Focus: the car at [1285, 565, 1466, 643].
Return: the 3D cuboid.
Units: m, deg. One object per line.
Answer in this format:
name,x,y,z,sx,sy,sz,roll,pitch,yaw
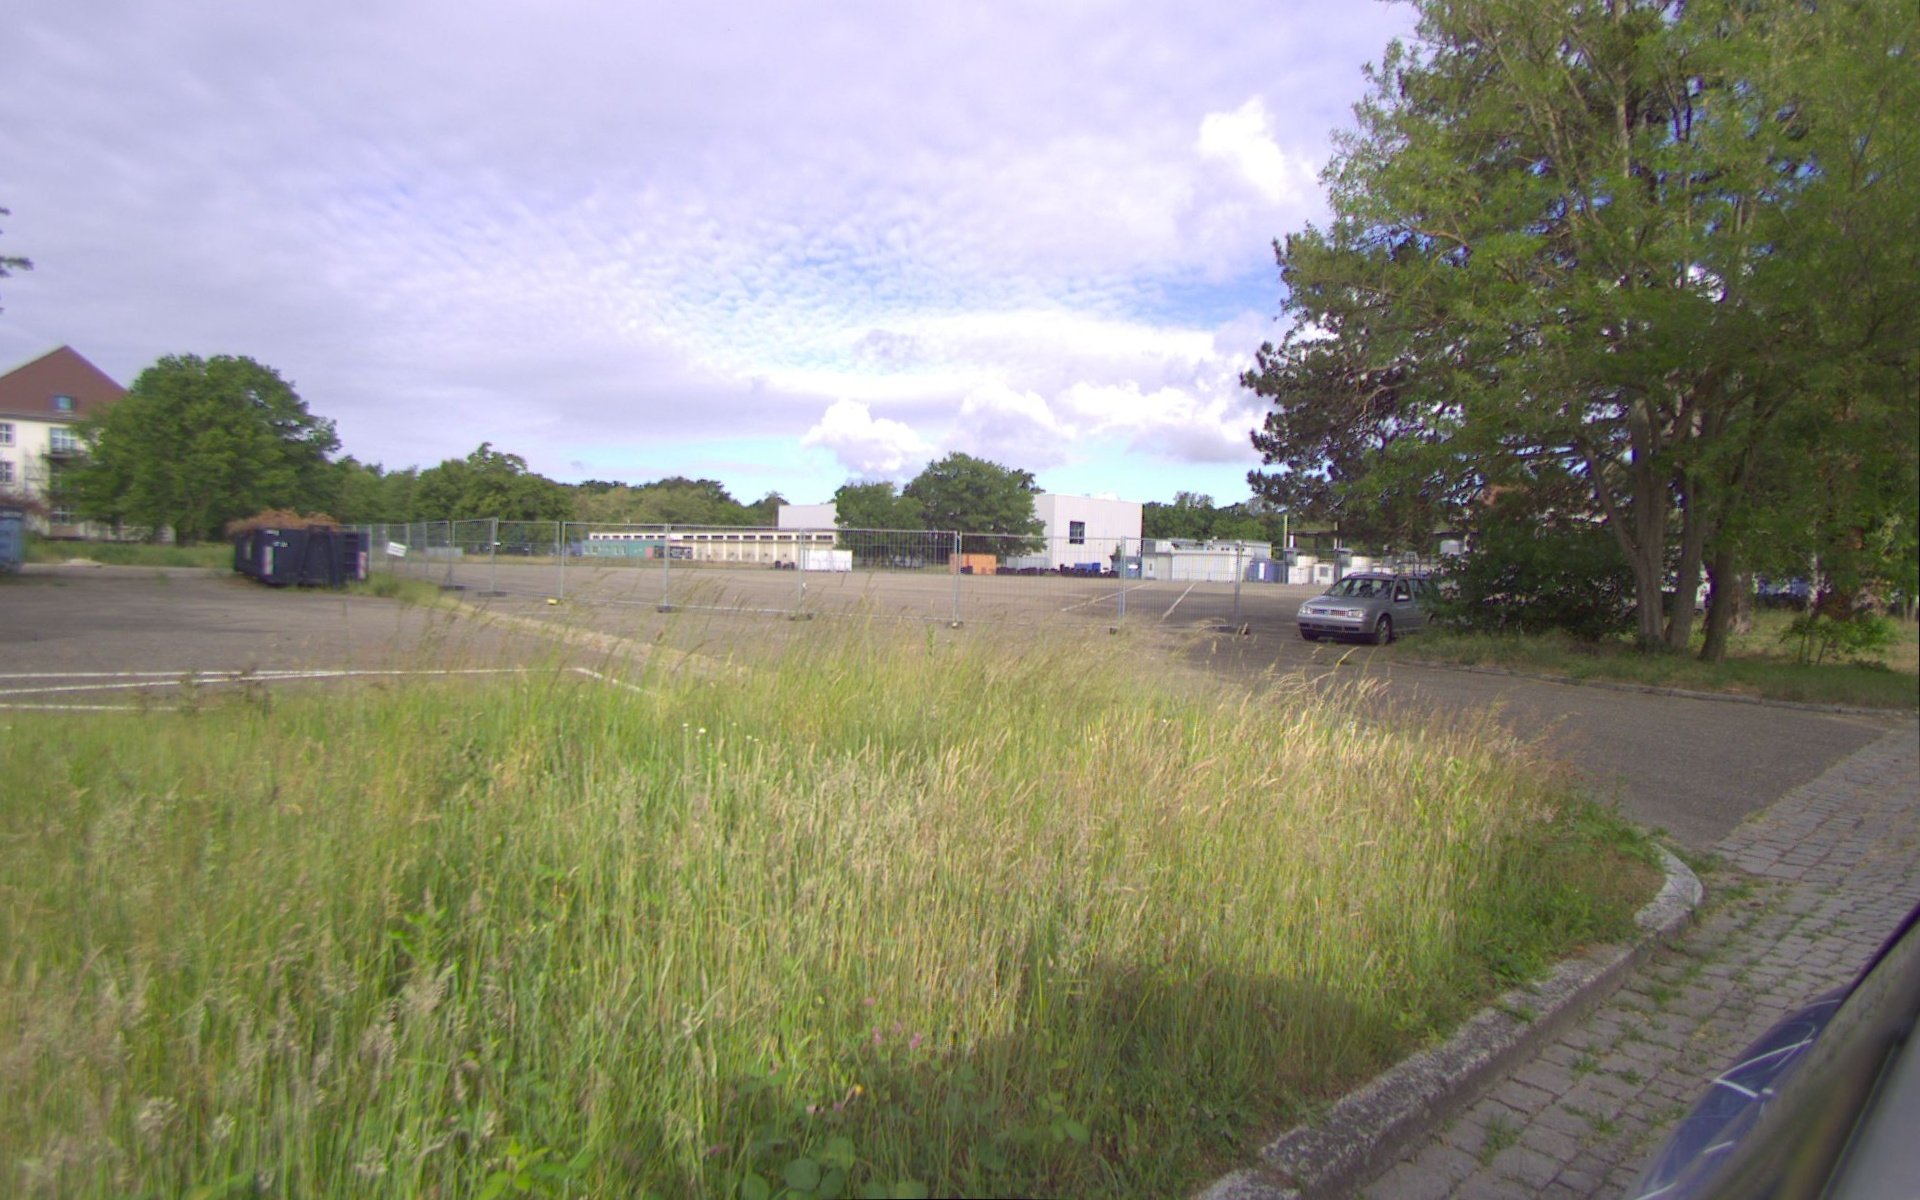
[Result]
car,8.946,0.052,21.639,4.250,1.466,1.759,0,3,-40
